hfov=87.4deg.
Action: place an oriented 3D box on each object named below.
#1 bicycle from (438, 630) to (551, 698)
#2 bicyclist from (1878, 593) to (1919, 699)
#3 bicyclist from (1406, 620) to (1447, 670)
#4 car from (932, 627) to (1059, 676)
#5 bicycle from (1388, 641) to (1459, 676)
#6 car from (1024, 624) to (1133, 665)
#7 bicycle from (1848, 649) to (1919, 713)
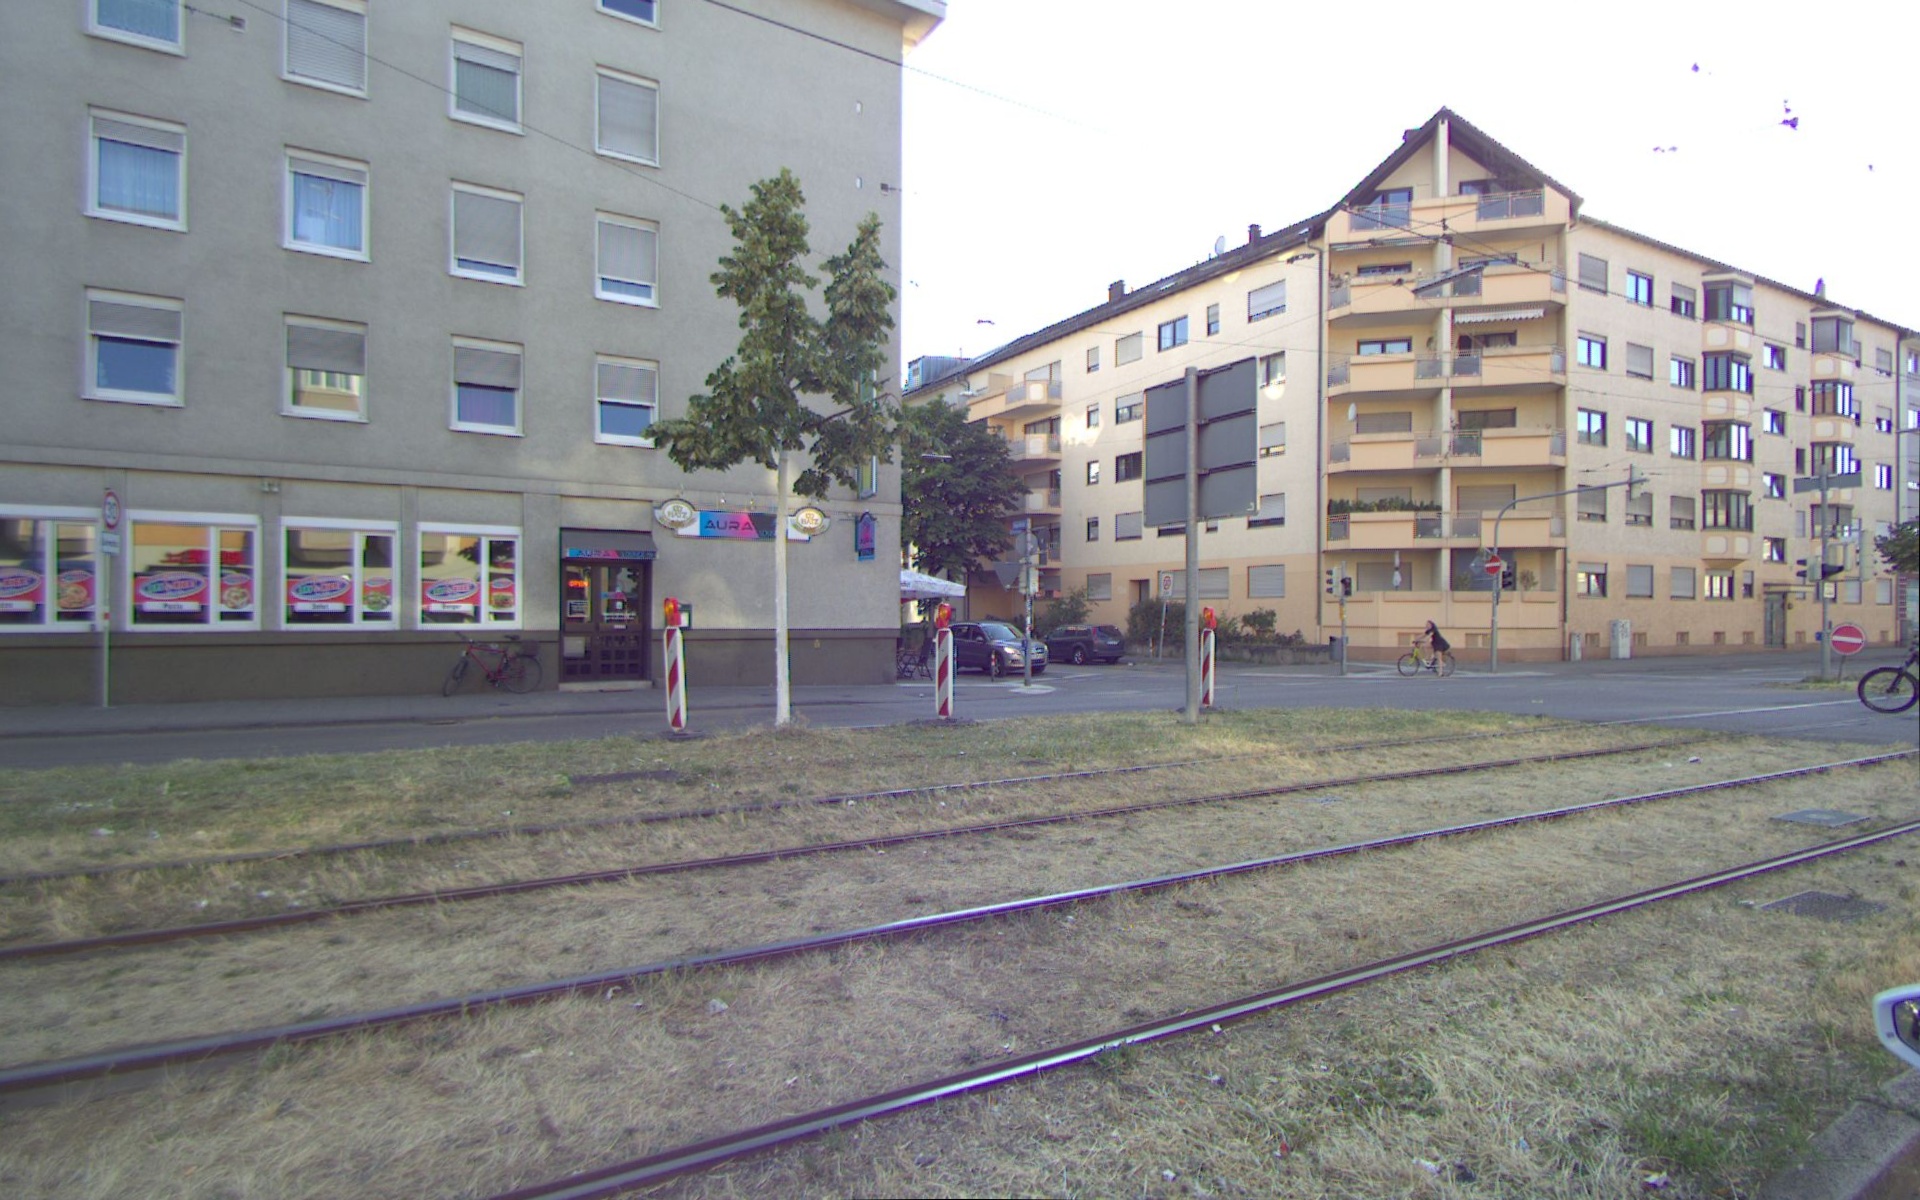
[{"bbox_3d":[-8.247,1.108,17.801,1.757,1.129,0.743,1,-1,-30],"label":"bicycle"},{"bbox_3d":[14.141,0.670,14.752,0.642,1.546,0.896,1,-1,-39],"label":"bicyclist"},{"bbox_3d":[13.687,1.321,29.492,0.946,1.466,0.529,0,-1,0],"label":"bicyclist"},{"bbox_3d":[1.039,1.569,31.554,1.751,1.406,4.074,1,-1,-39],"label":"car"},{"bbox_3d":[13.597,1.709,29.487,1.846,0.997,0.529,0,-1,0],"label":"bicycle"},{"bbox_3d":[4.398,1.635,37.700,1.776,1.459,3.926,1,-2,-39],"label":"car"},{"bbox_3d":[14.280,1.178,14.594,0.779,0.905,1.963,2,-3,-39],"label":"bicycle"}]
